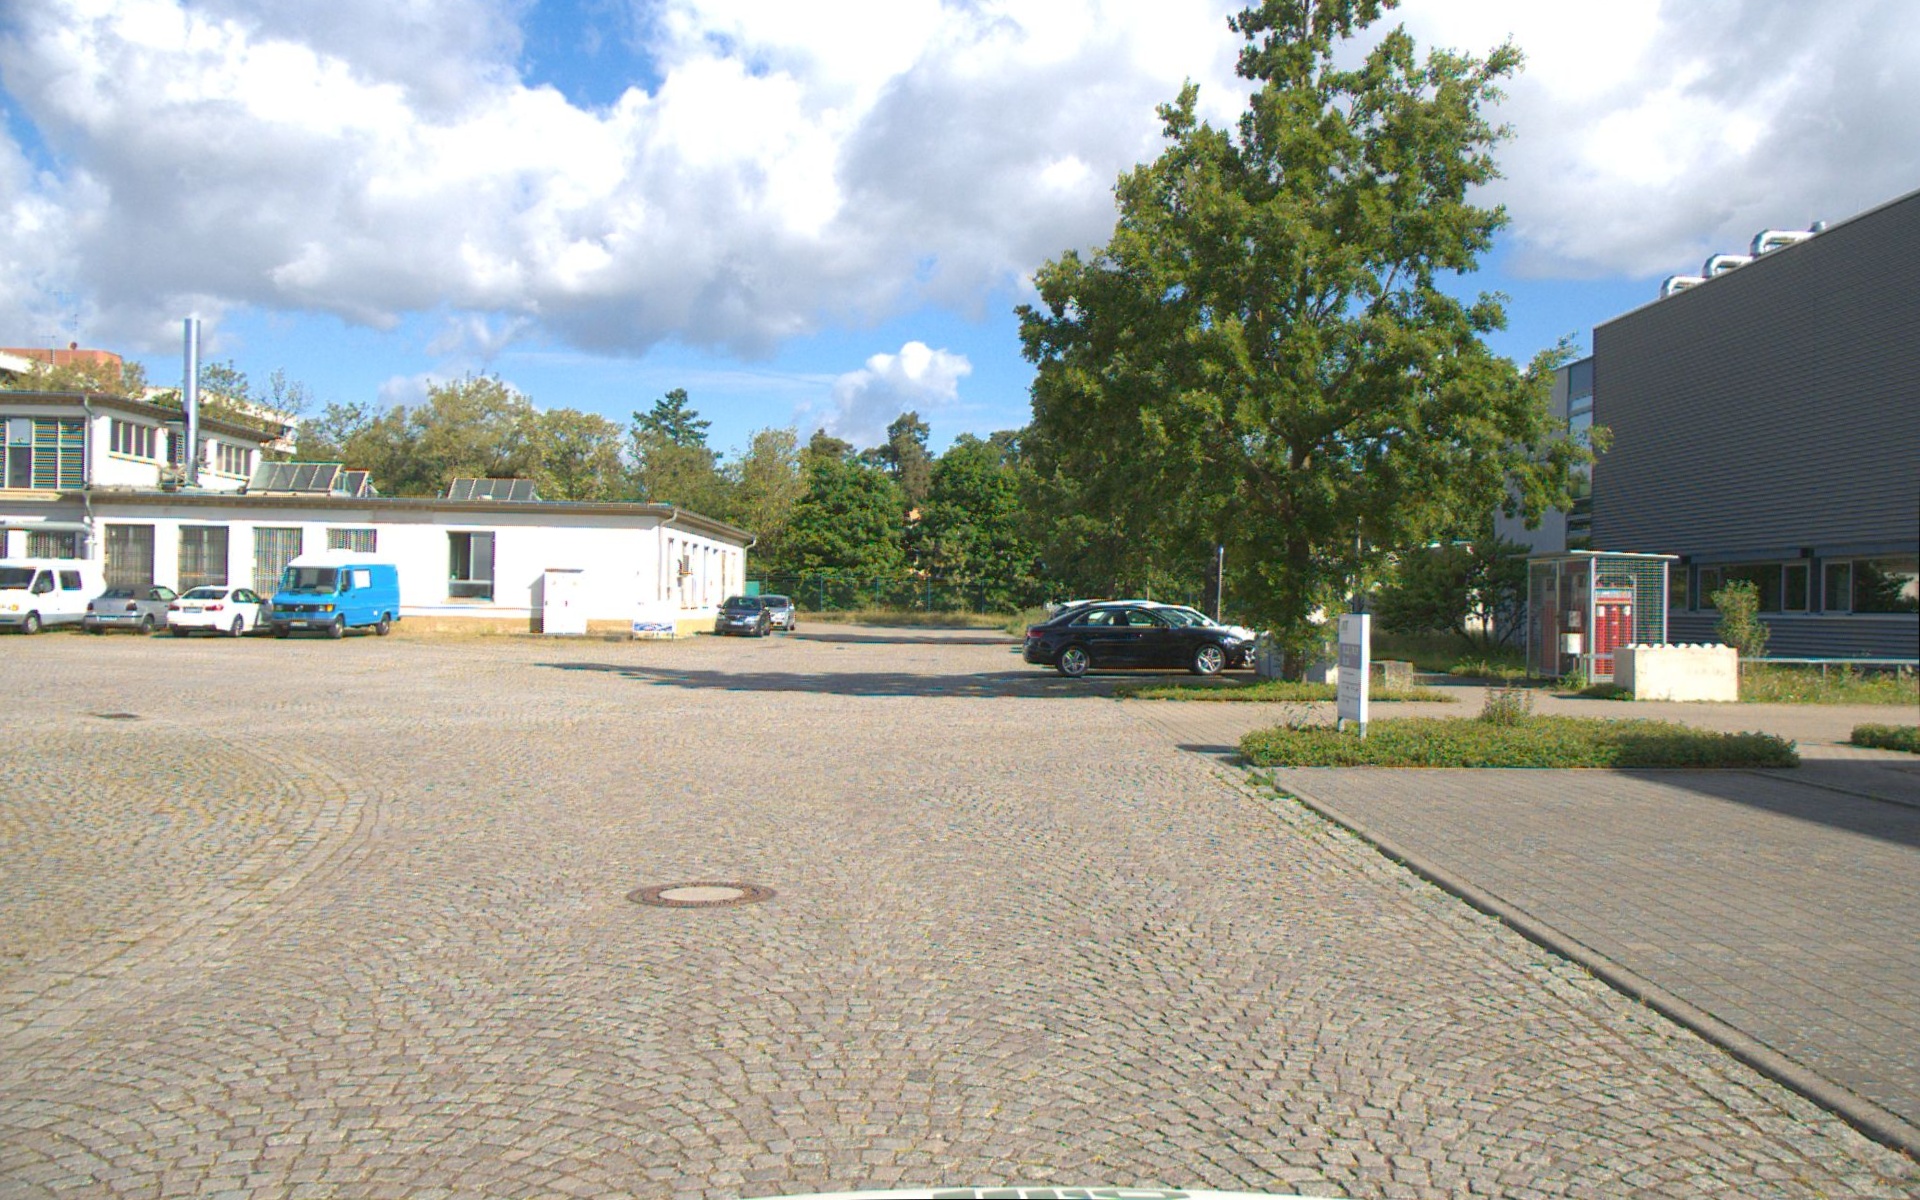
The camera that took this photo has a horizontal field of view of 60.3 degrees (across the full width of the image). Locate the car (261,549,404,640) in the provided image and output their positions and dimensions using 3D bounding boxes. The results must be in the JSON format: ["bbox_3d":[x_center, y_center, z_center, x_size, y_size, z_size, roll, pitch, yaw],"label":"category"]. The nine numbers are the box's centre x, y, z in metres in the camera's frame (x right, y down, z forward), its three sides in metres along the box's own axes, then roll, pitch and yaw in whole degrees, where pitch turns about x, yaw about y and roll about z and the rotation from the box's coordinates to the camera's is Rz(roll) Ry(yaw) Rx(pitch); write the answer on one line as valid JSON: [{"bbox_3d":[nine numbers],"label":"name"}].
[{"bbox_3d":[-18.506,-0.146,49.103,2.039,2.526,5.240,0,0,2],"label":"car"}]

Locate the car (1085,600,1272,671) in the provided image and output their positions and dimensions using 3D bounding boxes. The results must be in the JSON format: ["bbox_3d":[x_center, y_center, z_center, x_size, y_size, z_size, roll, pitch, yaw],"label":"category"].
[{"bbox_3d":[4.843,0.782,37.123,4.051,1.485,1.692,-1,0,4],"label":"car"}]

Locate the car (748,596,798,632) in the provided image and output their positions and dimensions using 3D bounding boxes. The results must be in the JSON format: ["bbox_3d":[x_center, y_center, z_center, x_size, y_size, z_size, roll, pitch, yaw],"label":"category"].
[{"bbox_3d":[-7.982,0.569,70.979,1.652,1.460,3.986,1,0,0],"label":"car"}]

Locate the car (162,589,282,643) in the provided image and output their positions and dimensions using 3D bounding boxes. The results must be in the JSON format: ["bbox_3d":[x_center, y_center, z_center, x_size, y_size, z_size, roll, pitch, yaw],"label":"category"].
[{"bbox_3d":[-21.256,0.439,47.806,1.696,1.430,3.740,0,1,2],"label":"car"}]

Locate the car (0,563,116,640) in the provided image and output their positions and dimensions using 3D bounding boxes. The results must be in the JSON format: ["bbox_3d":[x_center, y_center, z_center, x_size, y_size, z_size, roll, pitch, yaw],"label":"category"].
[{"bbox_3d":[-26.860,0.030,48.124,1.961,2.118,4.806,0,0,2],"label":"car"}]

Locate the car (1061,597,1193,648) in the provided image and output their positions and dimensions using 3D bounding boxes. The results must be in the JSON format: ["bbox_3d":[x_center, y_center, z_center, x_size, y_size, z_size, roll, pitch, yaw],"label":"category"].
[{"bbox_3d":[5.028,0.662,50.189,3.832,1.460,1.796,-1,0,0],"label":"car"}]

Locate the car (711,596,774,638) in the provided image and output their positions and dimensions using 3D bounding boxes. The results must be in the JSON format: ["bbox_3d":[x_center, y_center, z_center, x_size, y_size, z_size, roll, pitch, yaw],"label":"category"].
[{"bbox_3d":[-7.969,0.594,60.864,1.727,1.460,3.992,1,0,0],"label":"car"}]

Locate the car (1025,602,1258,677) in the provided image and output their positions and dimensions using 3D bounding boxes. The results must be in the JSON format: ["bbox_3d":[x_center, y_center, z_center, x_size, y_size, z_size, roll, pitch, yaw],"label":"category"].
[{"bbox_3d":[3.716,0.794,34.380,4.623,1.448,1.756,-1,0,-2],"label":"car"}]

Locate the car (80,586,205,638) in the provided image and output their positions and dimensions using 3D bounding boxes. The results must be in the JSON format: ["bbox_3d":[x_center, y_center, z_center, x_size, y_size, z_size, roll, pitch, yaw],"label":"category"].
[{"bbox_3d":[-24.002,0.339,48.724,1.652,1.423,3.832,1,0,2],"label":"car"}]

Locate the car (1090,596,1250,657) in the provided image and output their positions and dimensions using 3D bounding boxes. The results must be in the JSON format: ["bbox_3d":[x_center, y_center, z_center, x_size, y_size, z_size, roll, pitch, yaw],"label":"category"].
[{"bbox_3d":[5.310,0.662,42.155,3.832,1.472,1.755,-1,0,0],"label":"car"}]
